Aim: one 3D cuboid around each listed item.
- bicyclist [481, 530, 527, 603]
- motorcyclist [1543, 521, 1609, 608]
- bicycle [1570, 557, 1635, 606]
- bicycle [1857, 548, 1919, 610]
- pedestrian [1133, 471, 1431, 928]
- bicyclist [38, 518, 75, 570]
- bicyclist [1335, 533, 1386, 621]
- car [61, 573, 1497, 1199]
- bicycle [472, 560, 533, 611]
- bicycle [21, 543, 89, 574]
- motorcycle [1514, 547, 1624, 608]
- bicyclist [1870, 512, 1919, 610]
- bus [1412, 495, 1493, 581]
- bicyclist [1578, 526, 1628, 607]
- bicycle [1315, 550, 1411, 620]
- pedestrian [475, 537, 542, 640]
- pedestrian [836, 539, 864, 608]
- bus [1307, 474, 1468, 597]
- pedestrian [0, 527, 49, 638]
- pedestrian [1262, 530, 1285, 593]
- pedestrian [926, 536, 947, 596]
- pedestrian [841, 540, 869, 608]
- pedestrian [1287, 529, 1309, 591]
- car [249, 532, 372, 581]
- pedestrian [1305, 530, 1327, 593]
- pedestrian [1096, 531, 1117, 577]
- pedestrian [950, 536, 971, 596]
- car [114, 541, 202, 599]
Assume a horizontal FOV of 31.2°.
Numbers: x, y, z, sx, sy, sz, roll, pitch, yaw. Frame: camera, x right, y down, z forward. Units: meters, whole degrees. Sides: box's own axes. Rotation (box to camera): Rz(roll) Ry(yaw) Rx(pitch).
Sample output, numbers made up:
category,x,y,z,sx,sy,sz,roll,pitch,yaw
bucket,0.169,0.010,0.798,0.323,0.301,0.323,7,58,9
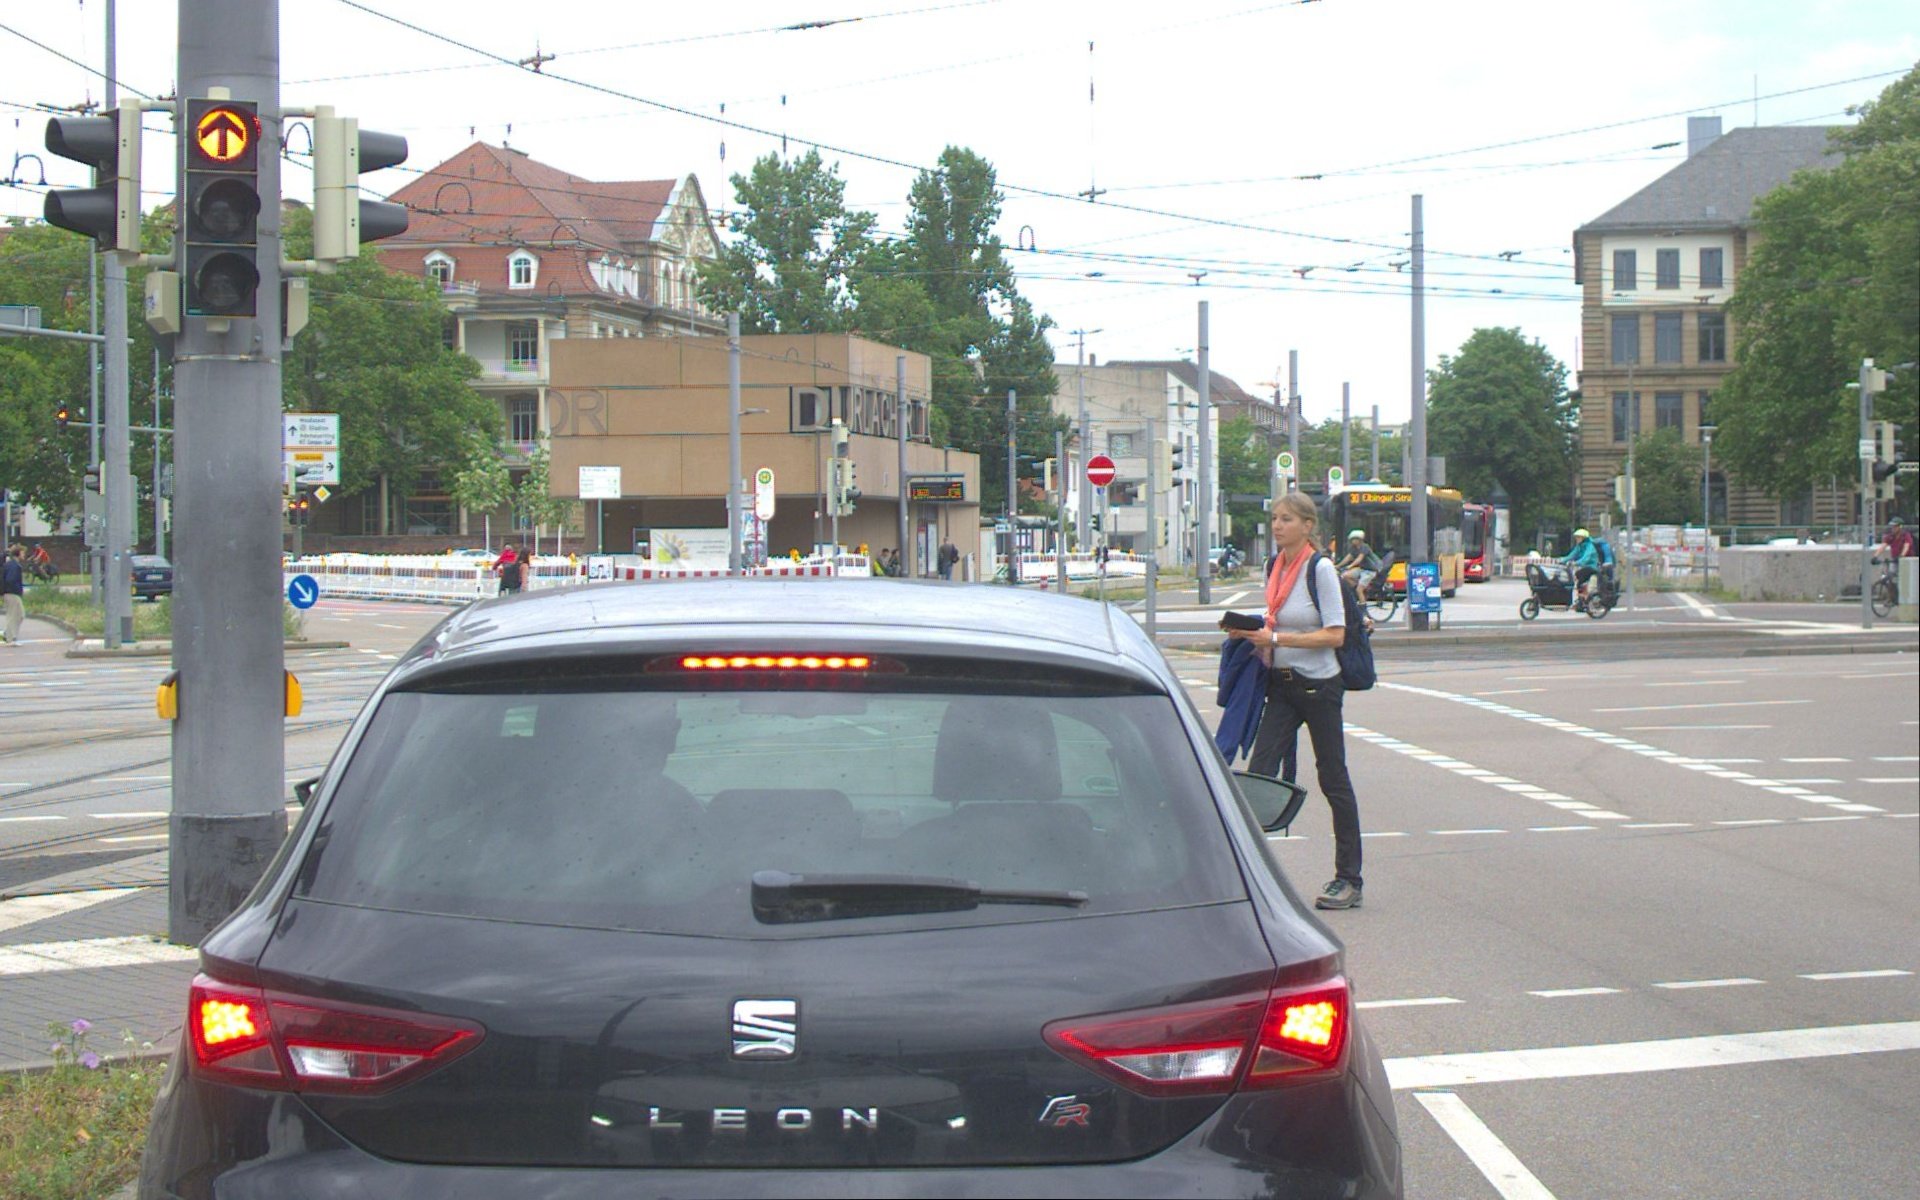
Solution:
category,x,y,z,sx,sy,sz,roll,pitch,yaw
bicyclist,-10.830,-0.797,81.597,0.882,1.726,0.894,0,1,-22
motorcyclist,11.753,-0.683,65.649,0.977,1.644,0.750,-1,0,-33
bicycle,14.787,-0.436,79.177,0.865,1.101,2.302,0,1,-5
bicycle,18.291,-0.417,66.798,0.777,1.180,2.027,0,1,44
pedestrian,1.403,0.409,14.929,1.101,1.900,0.735,0,0,-43
bicyclist,-35.187,-2.172,133.901,0.939,2.007,0.977,0,1,28
bicyclist,7.655,-0.447,65.726,0.854,1.667,0.654,0,1,-6
car,-0.351,0.693,5.996,1.704,1.444,3.813,0,1,-4
bicycle,-10.898,-0.358,81.822,0.891,1.174,2.302,0,1,-22
bicycle,-35.237,-1.609,133.876,0.941,1.175,2.725,0,1,28
motorcycle,11.616,-0.428,65.580,2.135,1.135,0.744,-1,1,-33
bicyclist,18.271,-0.766,66.773,0.777,1.891,0.994,0,1,44
bus,19.649,-2.470,136.668,2.655,3.272,10.990,0,1,11
bicyclist,14.785,-0.779,79.062,0.871,1.845,1.048,0,1,-6
bicycle,7.703,-0.289,65.734,1.730,1.317,0.645,0,1,-6
pedestrian,-8.482,-0.224,64.634,0.700,1.927,1.028,0,1,38
pedestrian,-3.089,-0.747,96.578,0.708,1.911,0.623,0,1,7
bus,11.749,-1.741,93.457,2.962,3.112,11.531,0,1,14
pedestrian,-16.615,-0.313,60.410,1.027,1.927,0.701,-1,1,-26
pedestrian,9.489,-1.160,104.031,0.621,1.911,0.698,0,1,9
pedestrian,-0.760,-1.085,110.543,0.621,1.911,0.710,0,1,3
pedestrian,-2.967,-0.745,97.374,0.708,1.911,0.623,0,1,7
pedestrian,10.381,-1.229,105.491,0.621,1.911,0.710,0,1,3
car,-23.213,-1.555,123.032,3.987,1.678,2.000,-1,0,1
pedestrian,10.825,-1.183,104.558,0.621,1.911,0.698,0,1,9
pedestrian,6.070,-1.903,142.786,0.622,1.911,0.709,-1,-1,25
pedestrian,0.015,-1.093,110.518,0.621,1.911,0.710,0,1,3
car,-24.458,-0.905,104.762,1.993,1.678,4.001,0,0,-22
